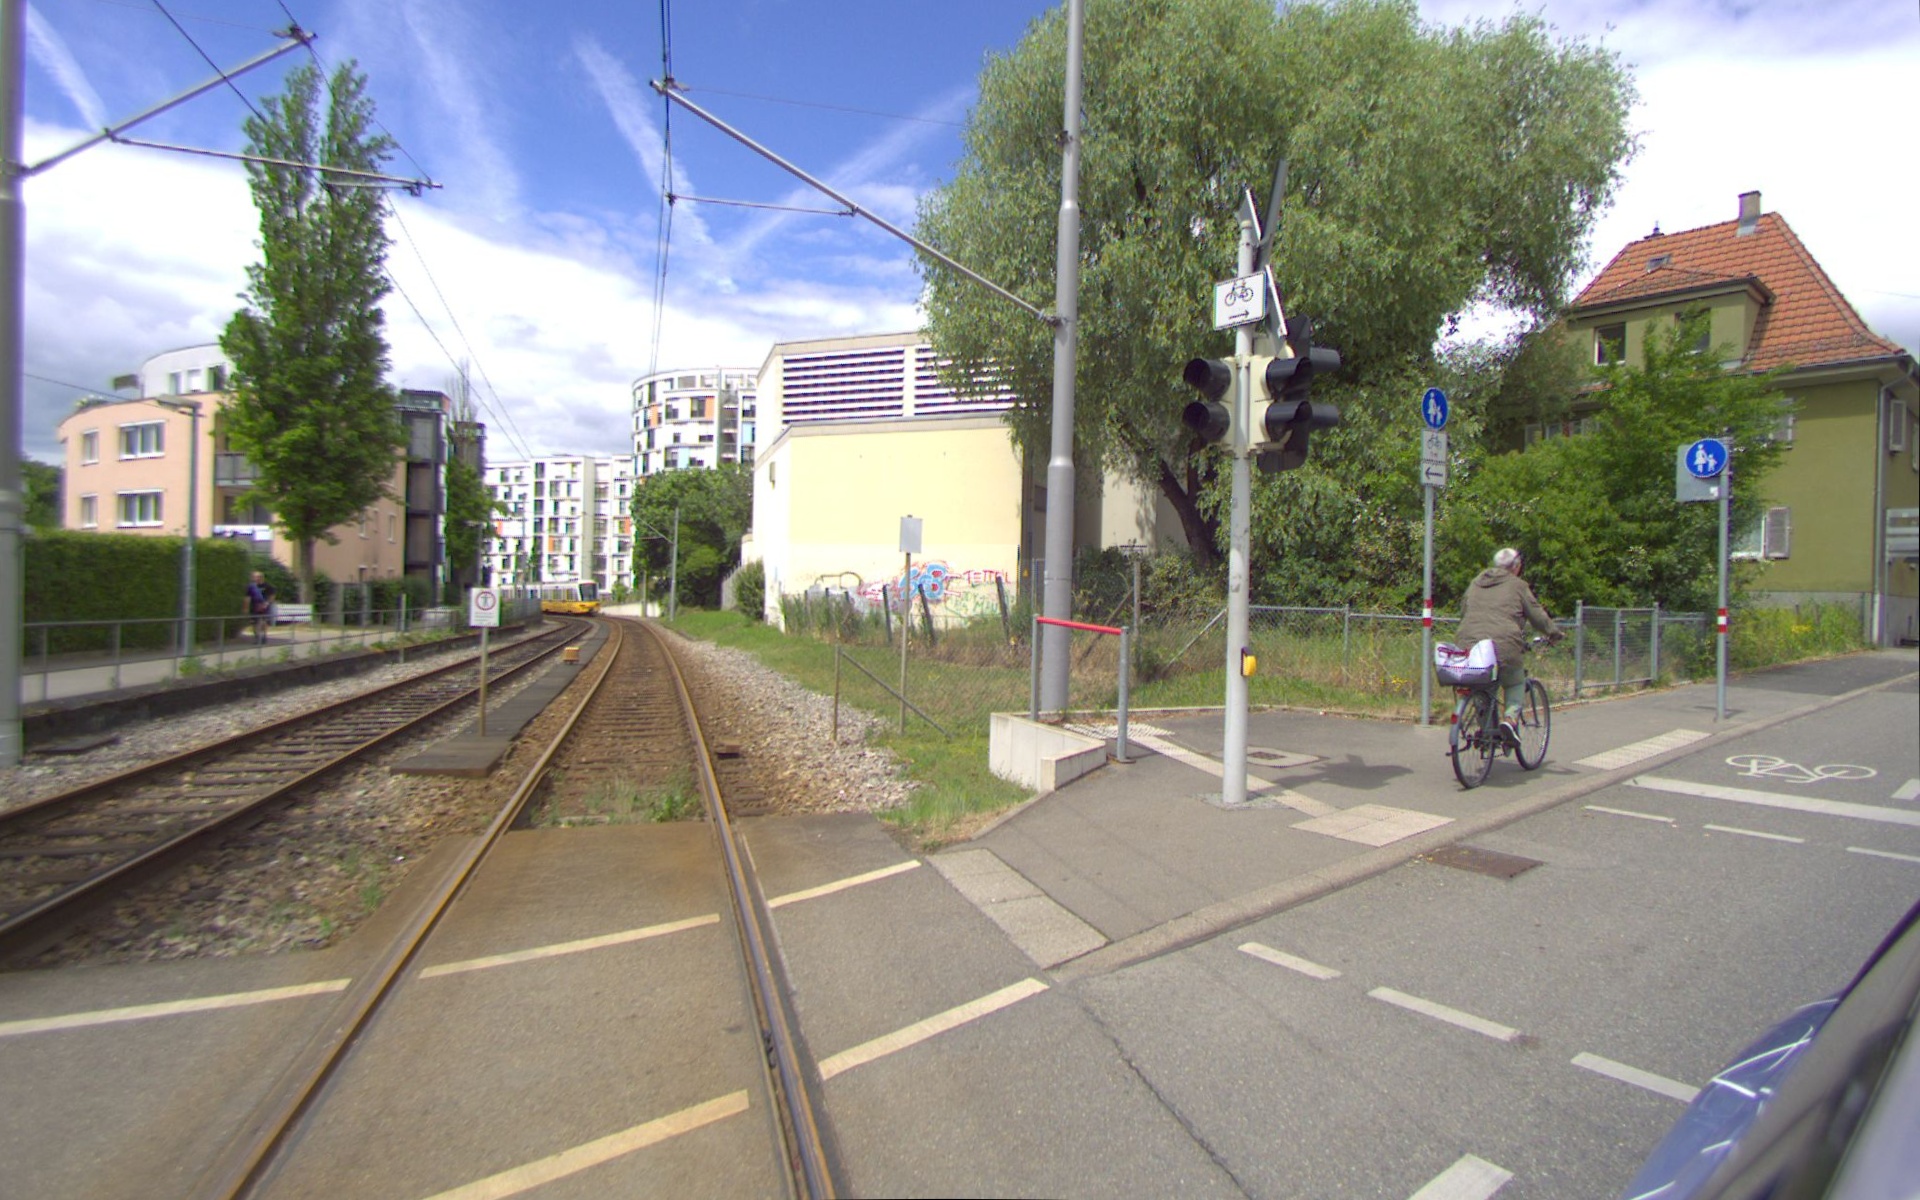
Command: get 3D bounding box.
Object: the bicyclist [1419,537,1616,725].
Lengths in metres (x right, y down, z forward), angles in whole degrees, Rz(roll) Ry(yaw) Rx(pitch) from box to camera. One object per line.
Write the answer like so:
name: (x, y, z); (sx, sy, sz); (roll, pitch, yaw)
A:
bicyclist: (4.127, 0.170, 7.498); (1.083, 1.262, 0.934); (-2, 4, -41)

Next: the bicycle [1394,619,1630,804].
bicycle: (4.142, 0.741, 7.540); (1.882, 1.053, 0.934); (-3, 4, -41)

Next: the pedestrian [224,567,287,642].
pedestrian: (-16.382, 0.090, 23.568); (0.913, 1.708, 0.921); (1, 1, -13)
